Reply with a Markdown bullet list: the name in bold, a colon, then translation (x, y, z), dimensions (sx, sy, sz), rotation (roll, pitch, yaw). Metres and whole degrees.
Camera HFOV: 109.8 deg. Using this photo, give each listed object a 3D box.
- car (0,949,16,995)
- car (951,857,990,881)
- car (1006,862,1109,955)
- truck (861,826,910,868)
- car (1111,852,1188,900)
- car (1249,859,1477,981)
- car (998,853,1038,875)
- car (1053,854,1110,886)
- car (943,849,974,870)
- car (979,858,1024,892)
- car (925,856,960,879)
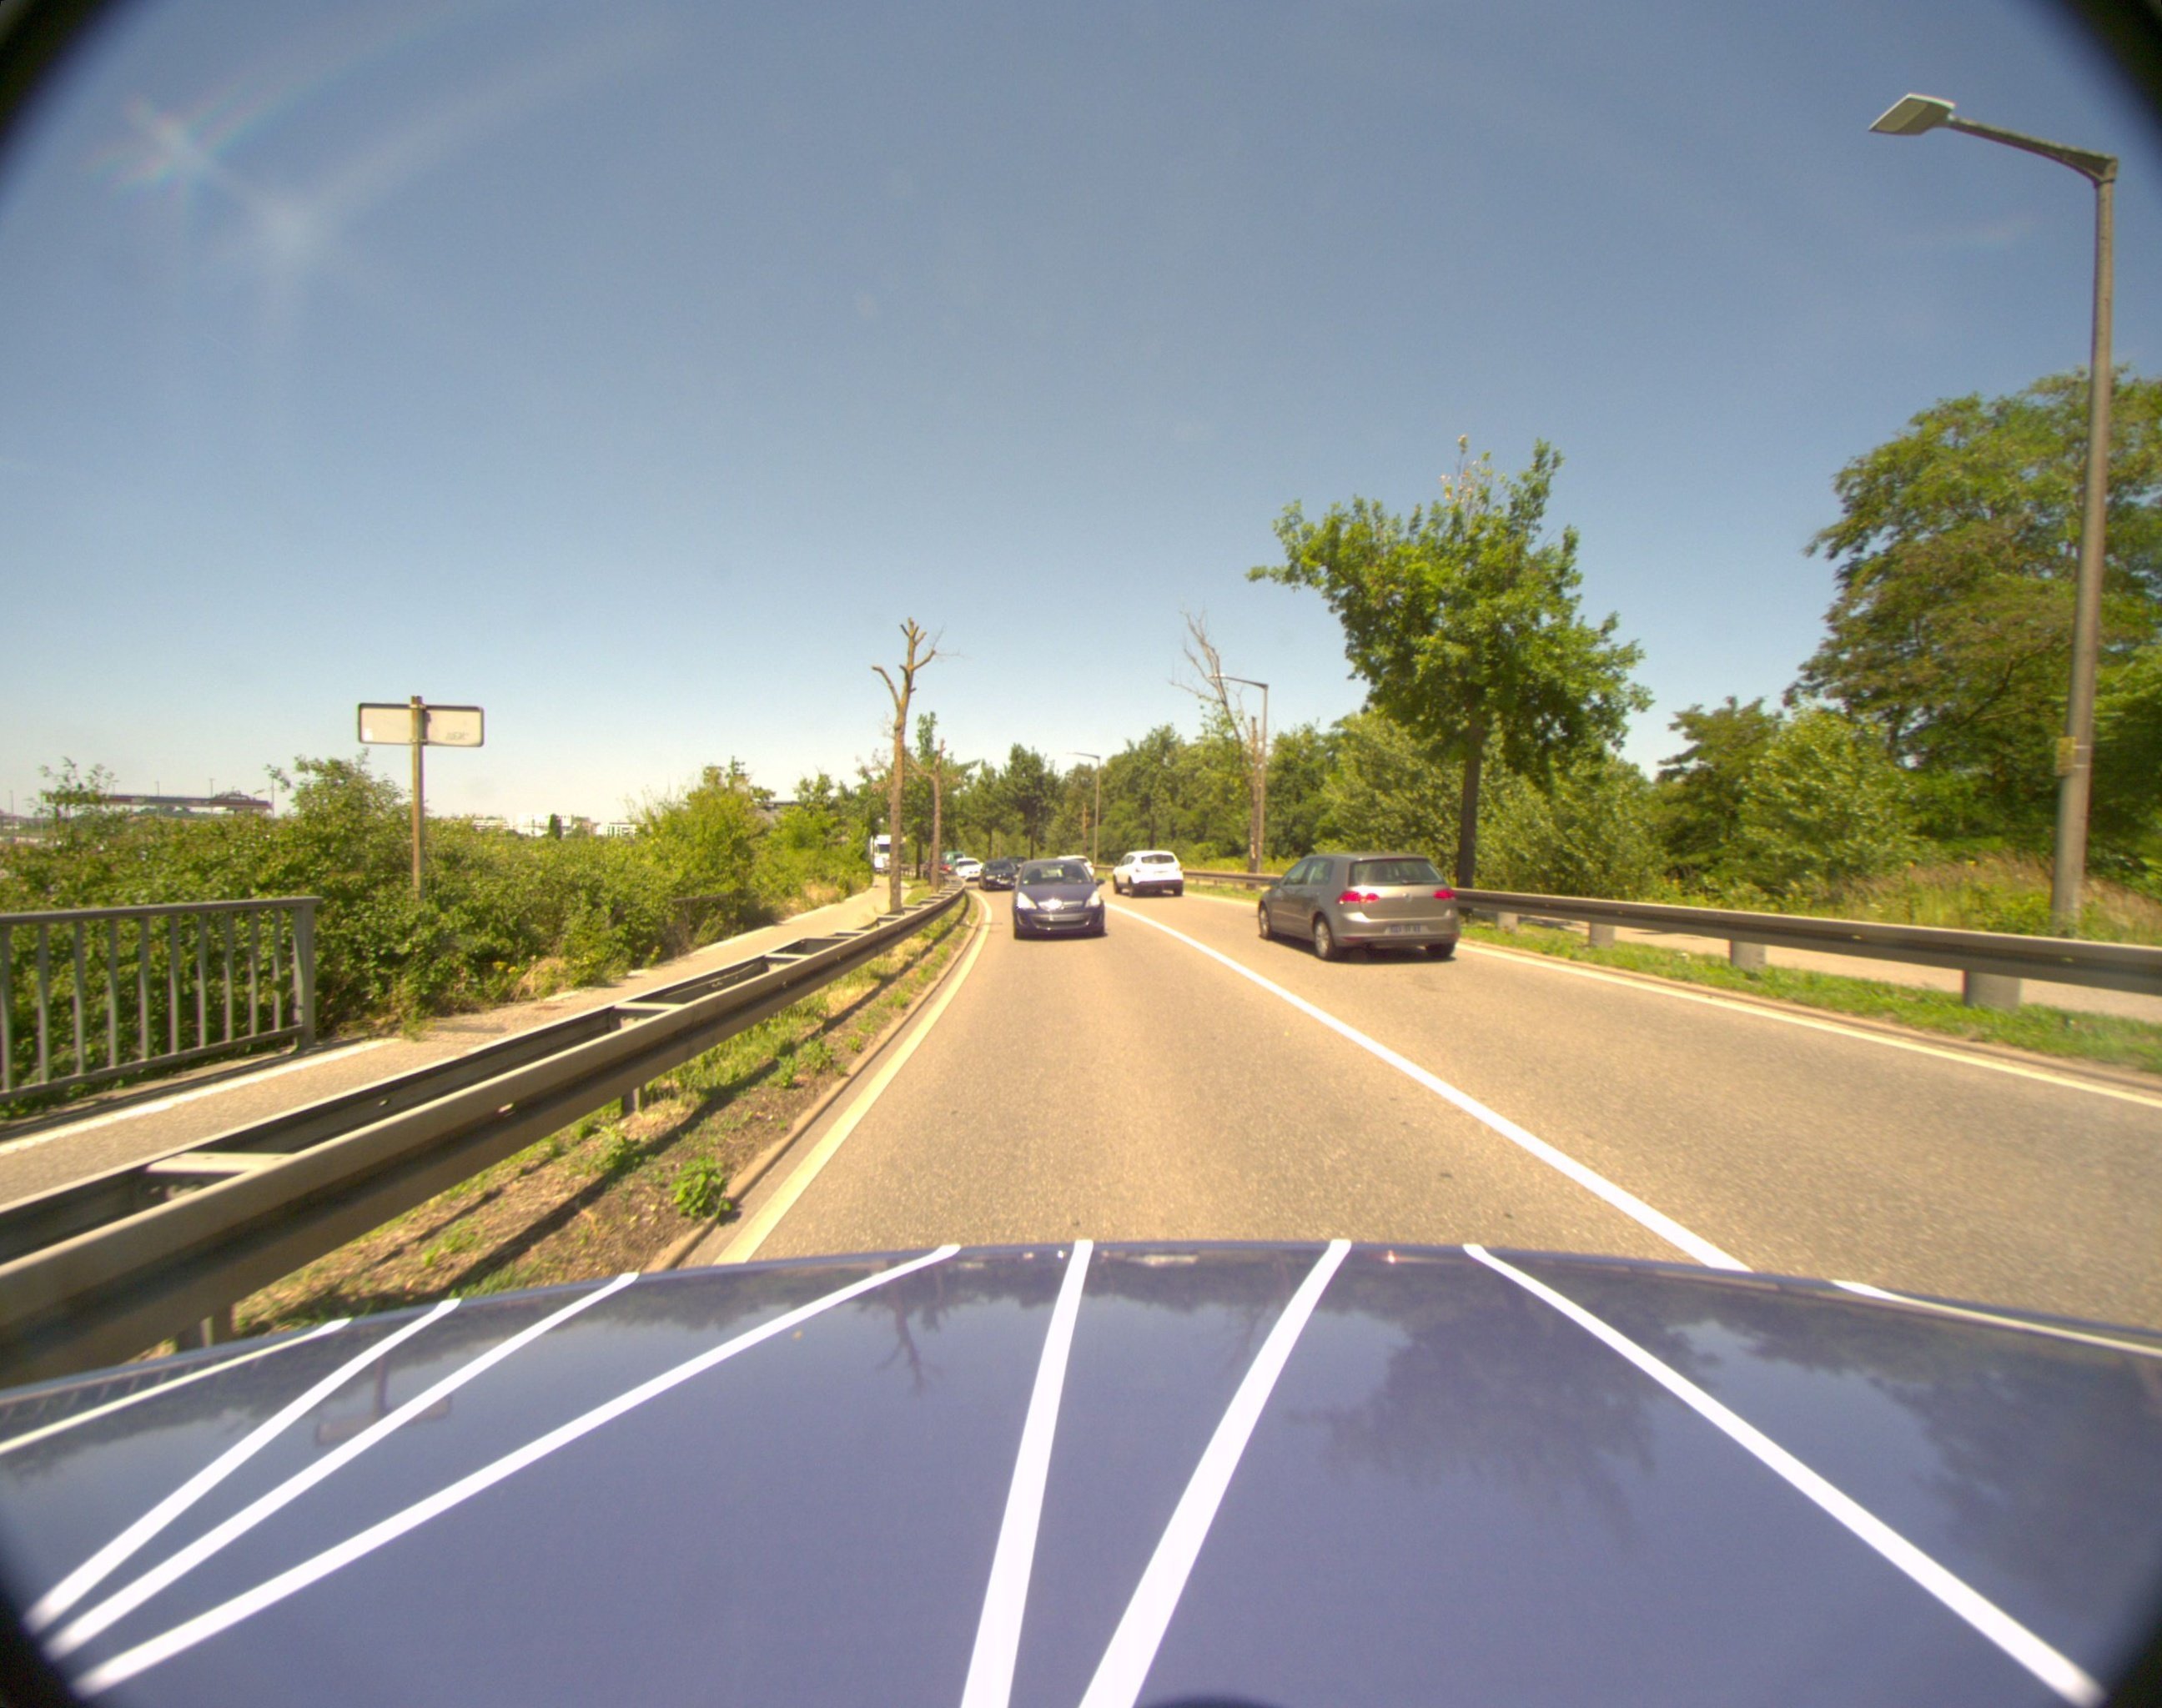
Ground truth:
- **car**: translation (-55.994, 6.166, 37.031), dimensions (2.154, 2.338, 4.921), rotation (-6, 1, -20)
- **car**: translation (-6.977, 0.913, 47.573), dimensions (1.819, 1.420, 3.709), rotation (-2, 0, -18)
- **car**: translation (-0.522, 0.938, 15.034), dimensions (1.699, 1.459, 4.381), rotation (-2, 0, -4)
- **truck**: translation (-20.947, -0.697, 80.993), dimensions (2.863, 4.244, 8.795), rotation (-2, 1, -29)
- **car**: translation (2.355, 0.717, 27.343), dimensions (1.751, 1.537, 4.389), rotation (-1, 0, -8)
- **car**: translation (3.898, 0.811, 11.313), dimensions (1.721, 1.419, 4.106), rotation (-1, 0, -3)
- **car**: translation (-4.538, 0.667, 54.162), dimensions (1.853, 1.459, 4.734), rotation (-2, 0, -16)
- **car**: translation (-0.058, 0.762, 38.144), dimensions (1.707, 1.438, 4.453), rotation (-2, 0, -15)
- **car**: translation (-11.672, 0.518, 72.091), dimensions (1.838, 1.927, 4.767), rotation (-2, 1, -22)
- **car**: translation (-3.739, 0.933, 35.162), dimensions (1.571, 1.408, 4.117), rotation (-2, 0, -13)
- **car**: translation (-11.302, 1.079, 61.809), dimensions (1.904, 1.645, 4.248), rotation (-2, 2, -22)
